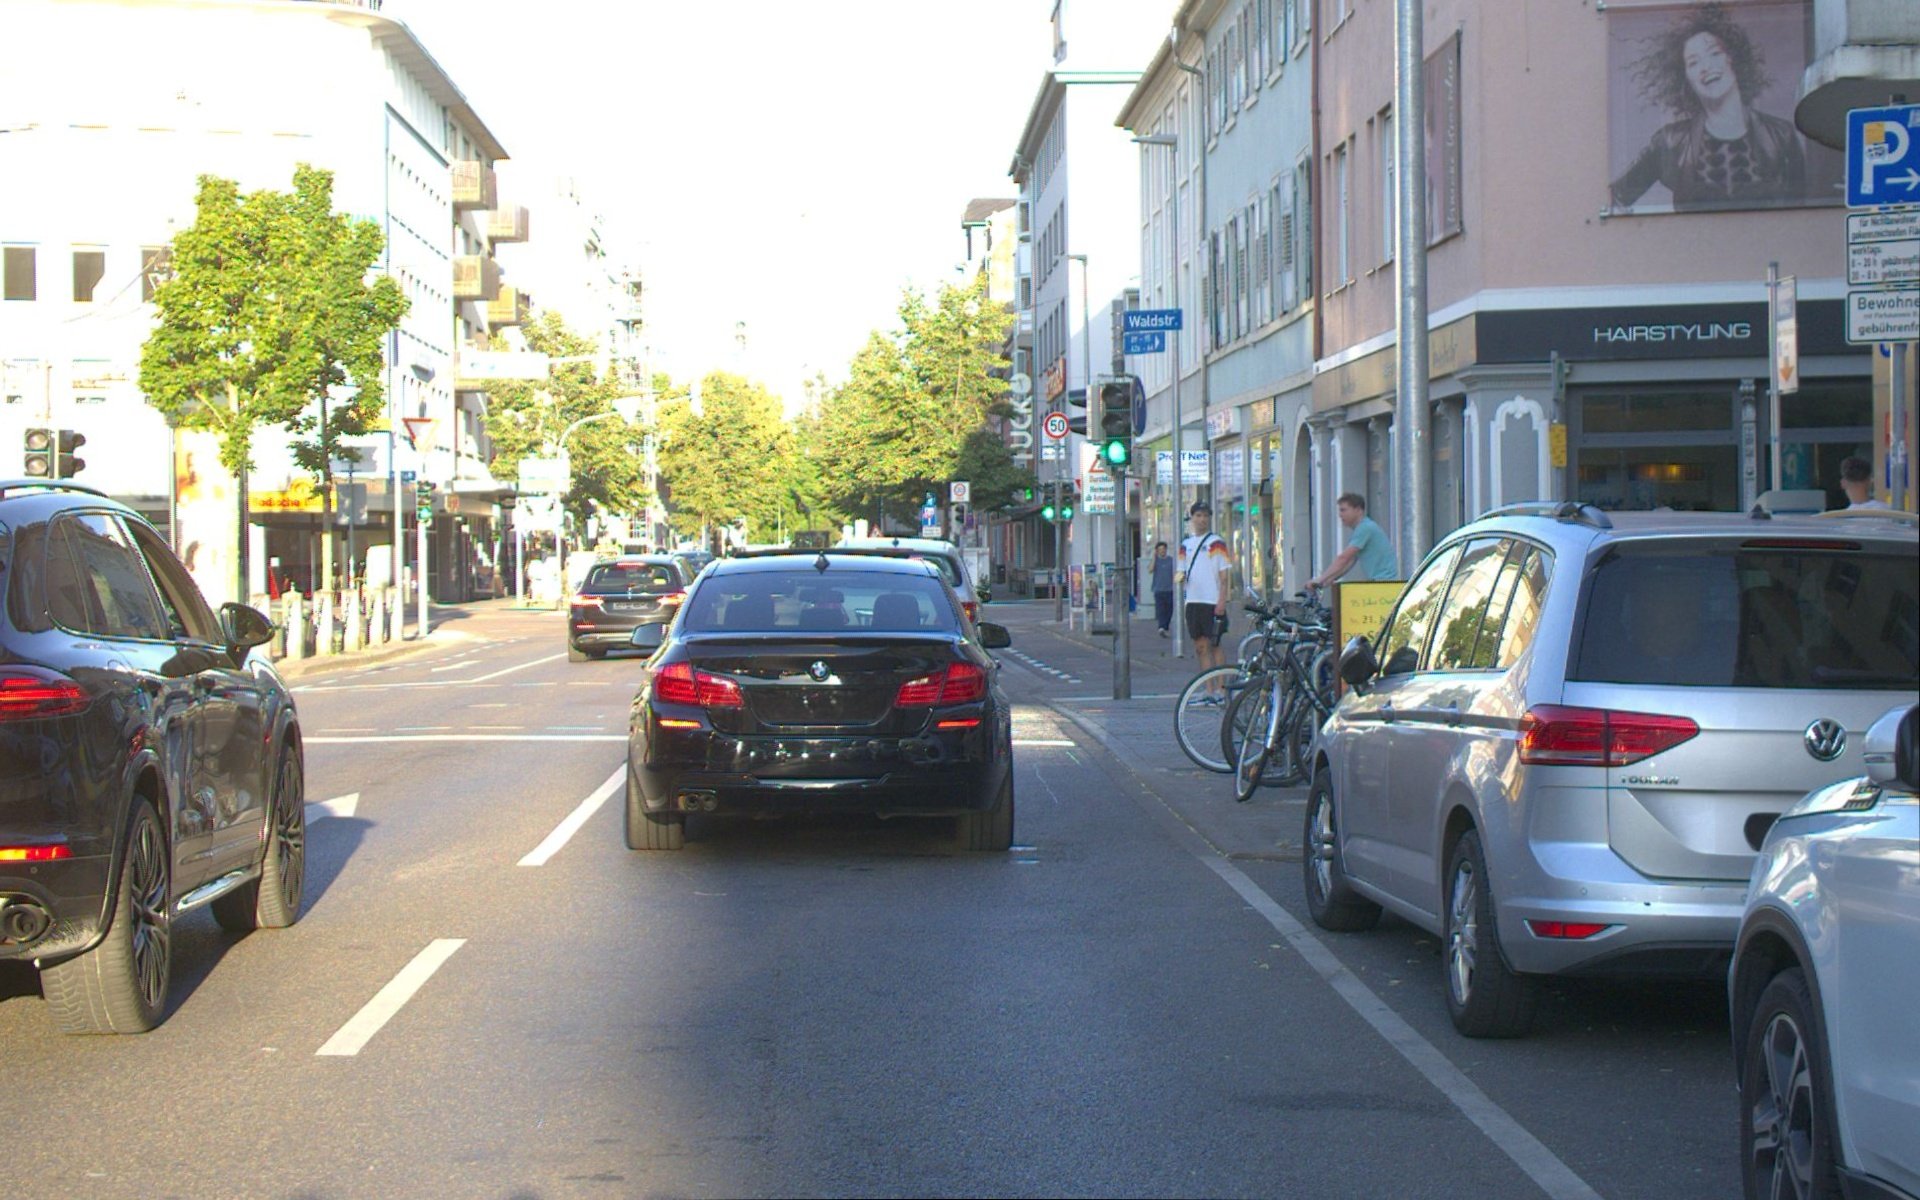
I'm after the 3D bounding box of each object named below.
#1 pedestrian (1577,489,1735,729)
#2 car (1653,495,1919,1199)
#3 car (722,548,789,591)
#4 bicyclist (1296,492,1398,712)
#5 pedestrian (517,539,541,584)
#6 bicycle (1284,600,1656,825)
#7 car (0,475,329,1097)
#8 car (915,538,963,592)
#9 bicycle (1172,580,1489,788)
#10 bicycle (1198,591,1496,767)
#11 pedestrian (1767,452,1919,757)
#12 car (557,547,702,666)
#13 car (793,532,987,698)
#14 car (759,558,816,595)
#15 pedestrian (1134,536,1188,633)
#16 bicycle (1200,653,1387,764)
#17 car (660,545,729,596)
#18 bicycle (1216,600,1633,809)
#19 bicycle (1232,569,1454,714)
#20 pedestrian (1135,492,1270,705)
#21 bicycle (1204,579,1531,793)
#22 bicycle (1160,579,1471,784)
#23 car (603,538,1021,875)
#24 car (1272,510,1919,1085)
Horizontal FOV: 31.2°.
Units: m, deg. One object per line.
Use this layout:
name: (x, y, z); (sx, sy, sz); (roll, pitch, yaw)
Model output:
pedestrian: (4.888, 0.056, 24.128); (0.791, 1.647, 0.778); (0, 1, 42)
car: (2.510, 0.634, 5.695); (1.817, 1.615, 4.203); (0, 1, -1)
car: (-6.947, -1.038, 116.383); (1.993, 1.437, 4.001); (0, 1, -7)
bicyclist: (3.250, 0.009, 28.876); (0.833, 1.820, 0.831); (0, 1, 7)
pedestrian: (-16.029, -1.440, 127.989); (0.823, 1.671, 0.871); (0, 1, -2)
bicycle: (2.718, 0.588, 18.364); (1.844, 1.119, 0.595); (-2, 0, -12)
car: (-3.461, 0.484, 11.702); (1.948, 1.708, 4.562); (-1, 1, -3)
car: (-0.756, -1.210, 119.664); (1.421, 1.848, 3.053); (1, 0, -5)
bicycle: (2.251, 0.497, 20.939); (1.781, 1.169, 0.622); (-2, 1, -12)
bicycle: (2.541, 0.508, 22.630); (1.781, 1.060, 0.719); (-2, 1, -12)
pedestrian: (5.552, 0.016, 21.004); (0.823, 1.810, 0.871); (-1, 1, -38)
car: (-4.598, 0.055, 48.326); (1.872, 1.590, 4.450); (0, 1, -3)
car: (-0.676, 0.102, 34.588); (1.832, 1.570, 4.100); (0, 1, 0)
car: (-6.211, -0.841, 123.176); (1.733, 1.288, 4.001); (0, 1, -7)
pedestrian: (3.452, -0.269, 59.150); (0.823, 1.636, 0.871); (-1, 1, -3)
bicycle: (2.243, 0.722, 23.216); (1.004, 0.679, 1.051); (-1, 1, -10)
car: (-8.564, -0.951, 110.746); (1.993, 1.612, 4.001); (0, 1, -7)
bicycle: (2.601, 0.572, 19.362); (2.169, 1.071, 0.806); (-1, 1, -8)
bicycle: (3.223, 0.347, 28.882); (1.820, 1.182, 0.793); (-1, 1, 8)
pedestrian: (2.195, -0.025, 31.146); (0.937, 1.891, 0.826); (-1, 1, -22)
bicycle: (2.401, 0.493, 20.310); (1.781, 1.169, 0.622); (-2, 1, -12)
bicycle: (2.234, 0.502, 21.687); (1.843, 1.235, 0.639); (-1, 1, -6)
car: (-0.780, 0.444, 17.912); (1.903, 1.535, 4.450); (0, 1, -3)
car: (2.279, 0.512, 12.019); (1.697, 1.611, 4.683); (0, 1, -3)
